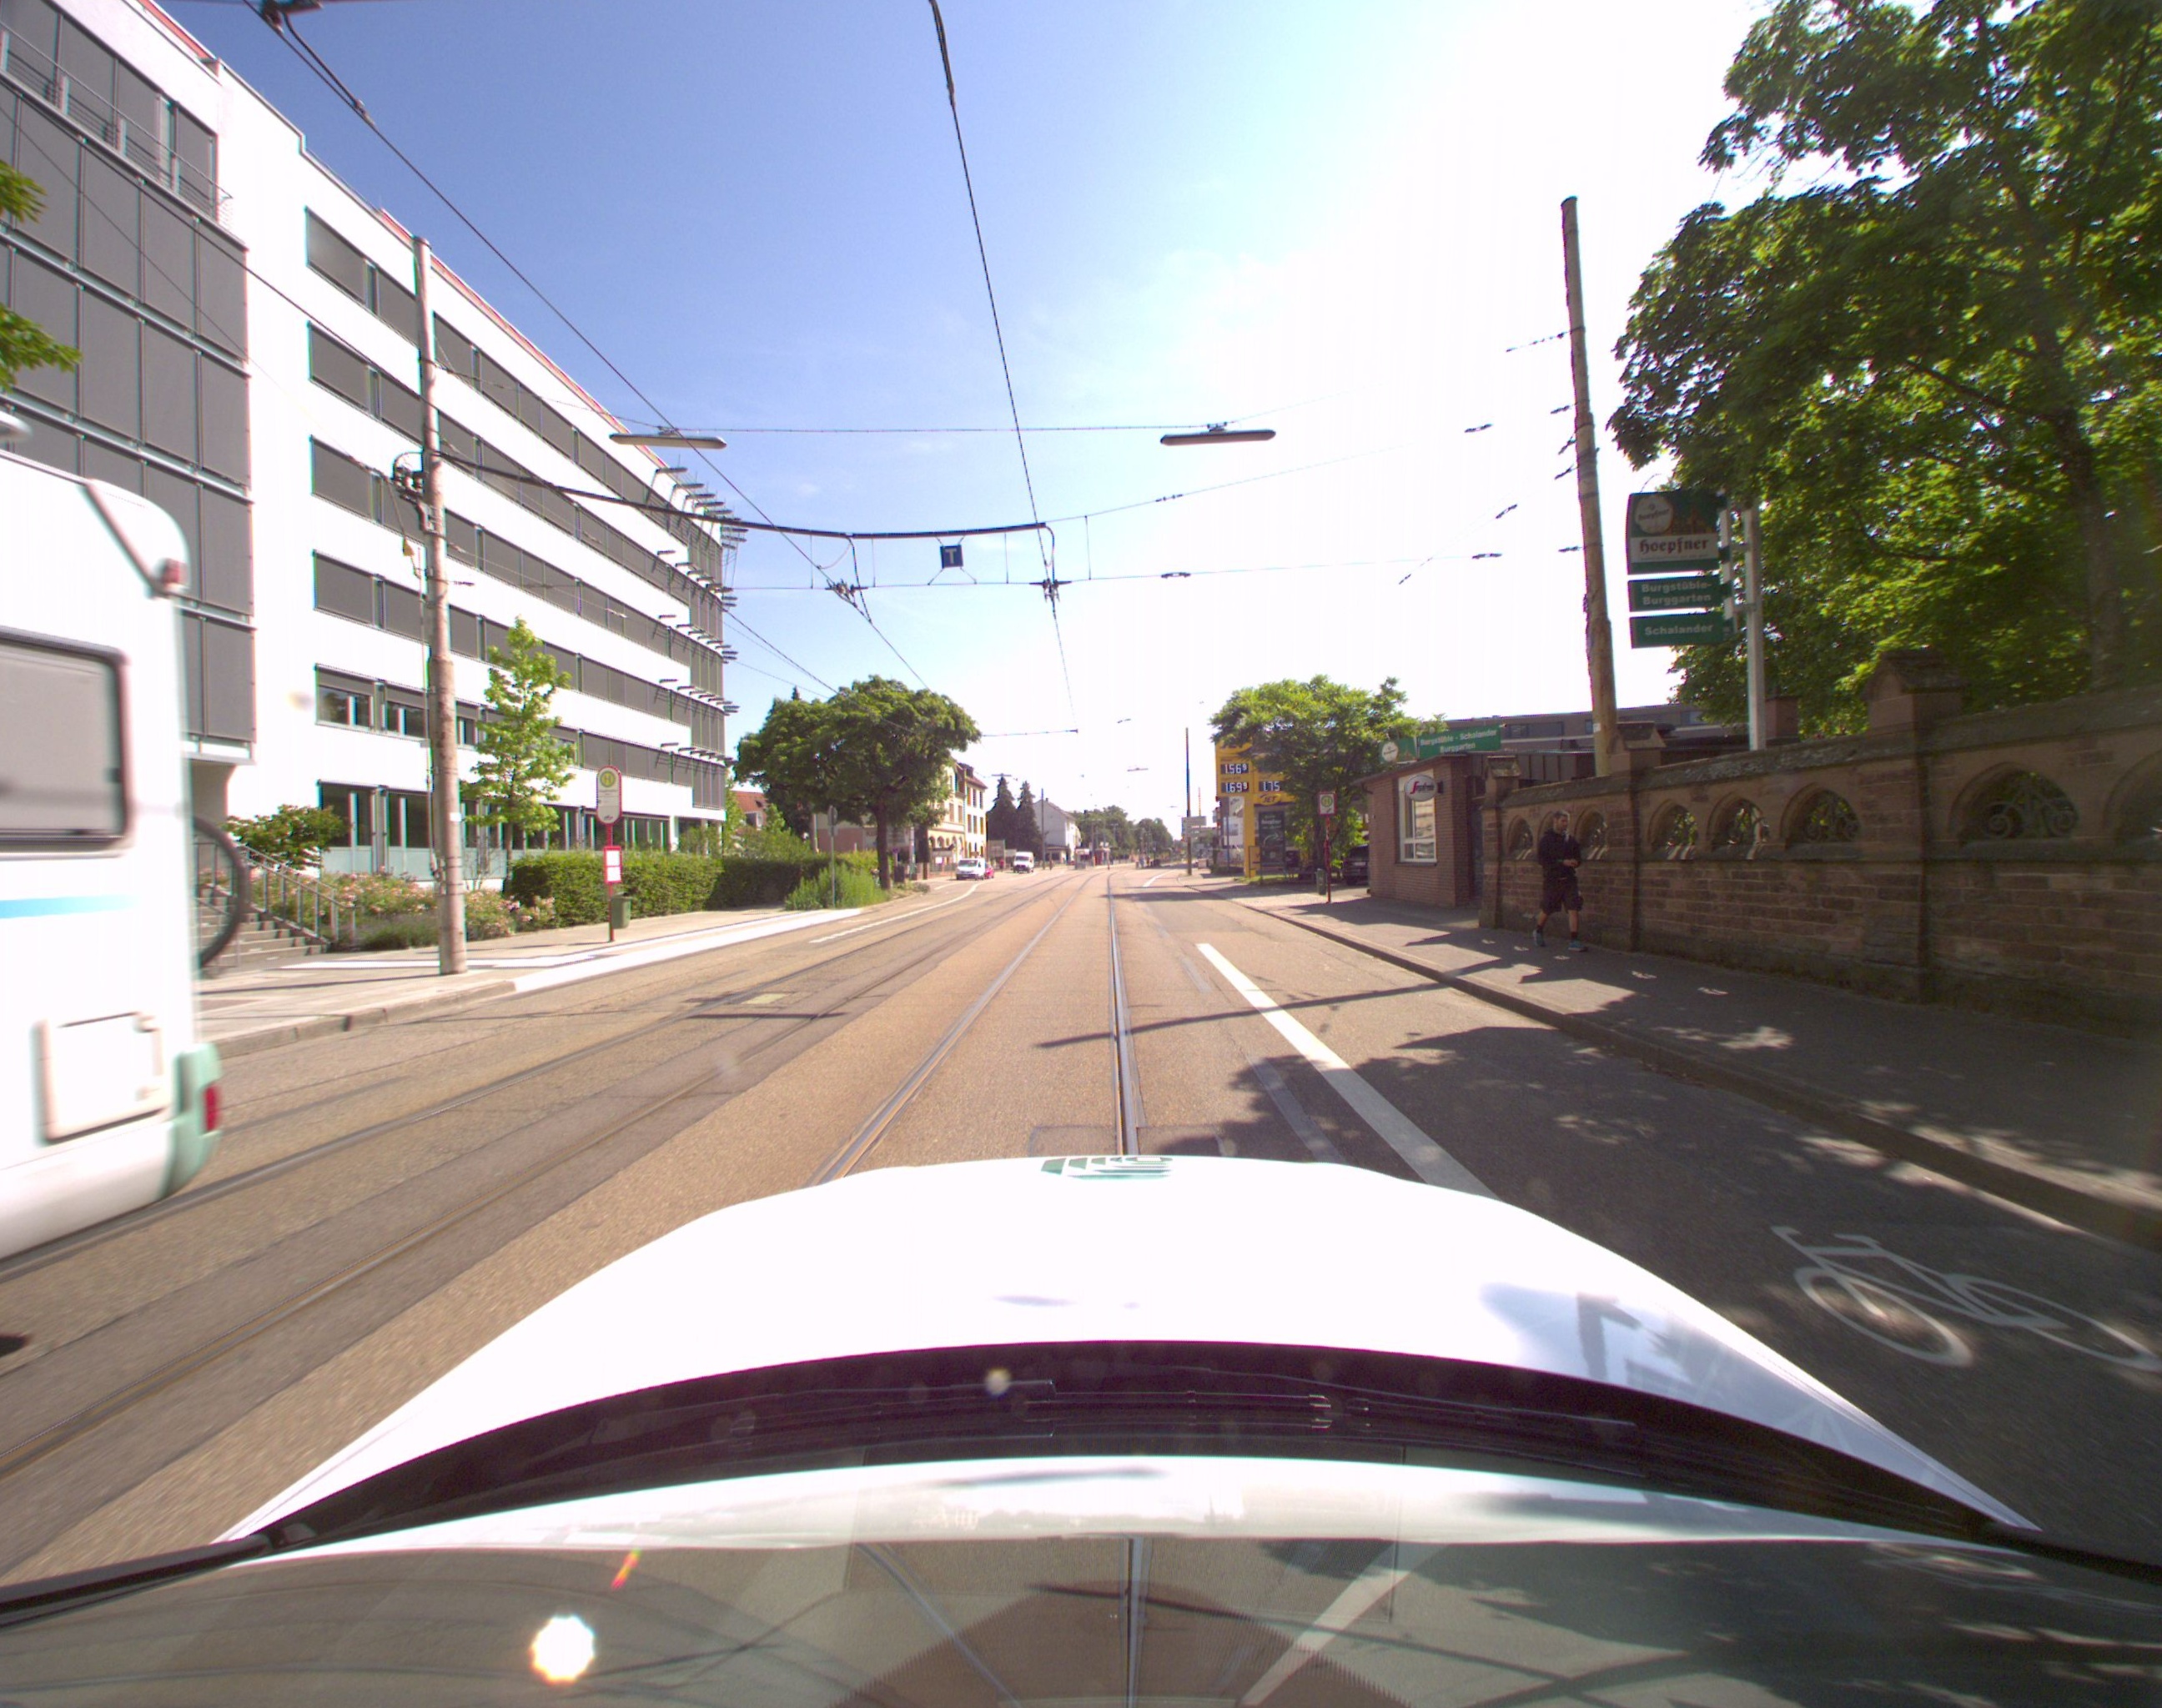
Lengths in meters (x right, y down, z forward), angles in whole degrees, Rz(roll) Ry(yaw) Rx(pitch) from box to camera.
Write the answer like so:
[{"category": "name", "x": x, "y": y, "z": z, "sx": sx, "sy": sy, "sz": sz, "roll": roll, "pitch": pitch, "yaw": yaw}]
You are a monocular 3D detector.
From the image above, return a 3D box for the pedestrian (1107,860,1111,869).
[{"category": "pedestrian", "x": 5.000, "y": 1.910, "z": 145.462, "sx": 0.414, "sy": 1.690, "sz": 0.706, "roll": -2, "pitch": -1, "yaw": -4}]

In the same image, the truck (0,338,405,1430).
[{"category": "truck", "x": -4.341, "y": 0.095, "z": 0.603, "sx": 2.393, "sy": 3.109, "sz": 6.040, "roll": -2, "pitch": 0, "yaw": 2}]

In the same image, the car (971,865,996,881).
[{"category": "car", "x": -9.295, "y": 1.809, "z": 78.043, "sx": 1.713, "sy": 1.406, "sz": 4.004, "roll": -2, "pitch": 0, "yaw": 3}]

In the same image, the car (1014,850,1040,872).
[{"category": "car", "x": -6.666, "y": 0.854, "z": 101.646, "sx": 2.319, "sy": 2.535, "sz": 6.513, "roll": -2, "pitch": 0, "yaw": 4}]

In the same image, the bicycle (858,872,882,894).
[{"category": "bicycle", "x": -11.227, "y": 1.524, "z": 43.441, "sx": 0.633, "sy": 1.117, "sz": 2.067, "roll": -2, "pitch": 0, "yaw": 1}]

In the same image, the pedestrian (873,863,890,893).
[{"category": "pedestrian", "x": -10.629, "y": 1.275, "z": 43.417, "sx": 0.684, "sy": 1.563, "sz": 0.987, "roll": 0, "pitch": -1, "yaw": -2}]

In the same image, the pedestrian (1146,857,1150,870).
[{"category": "pedestrian", "x": 9.516, "y": 1.381, "z": 115.921, "sx": 0.553, "sy": 1.760, "sz": 0.794, "roll": -2, "pitch": -1, "yaw": 4}]

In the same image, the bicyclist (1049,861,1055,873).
[{"category": "bicyclist", "x": -4.052, "y": 1.791, "z": 112.529, "sx": 0.714, "sy": 1.724, "sz": 0.987, "roll": -2, "pitch": -1, "yaw": -1}]

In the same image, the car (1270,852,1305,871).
[{"category": "car", "x": 16.541, "y": 0.579, "z": 65.116, "sx": 1.739, "sy": 1.455, "sz": 4.436, "roll": -2, "pitch": 0, "yaw": 27}]

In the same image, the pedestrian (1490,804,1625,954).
[{"category": "pedestrian", "x": 6.317, "y": 0.319, "z": 10.880, "sx": 0.972, "sy": 1.815, "sz": 1.185, "roll": -6, "pitch": -1, "yaw": 2}]

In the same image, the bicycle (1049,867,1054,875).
[{"category": "bicycle", "x": -4.045, "y": 2.331, "z": 112.498, "sx": 0.606, "sy": 0.984, "sz": 2.164, "roll": -2, "pitch": -1, "yaw": 1}]

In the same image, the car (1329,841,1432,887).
[{"category": "car", "x": 12.098, "y": 0.373, "z": 32.727, "sx": 4.687, "sy": 1.640, "sz": 1.995, "roll": -2, "pitch": -1, "yaw": -44}]

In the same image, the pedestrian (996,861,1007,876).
[{"category": "pedestrian", "x": -9.855, "y": 1.750, "z": 101.077, "sx": 0.936, "sy": 1.815, "sz": 1.134, "roll": -2, "pitch": -1, "yaw": 12}]

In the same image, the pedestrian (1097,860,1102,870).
[{"category": "pedestrian", "x": 3.070, "y": 1.777, "z": 134.551, "sx": 0.702, "sy": 1.690, "sz": 0.416, "roll": -2, "pitch": -1, "yaw": 1}]

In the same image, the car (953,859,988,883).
[{"category": "car", "x": -9.674, "y": 1.441, "z": 71.701, "sx": 2.074, "sy": 2.014, "sz": 4.913, "roll": -1, "pitch": -1, "yaw": 4}]
